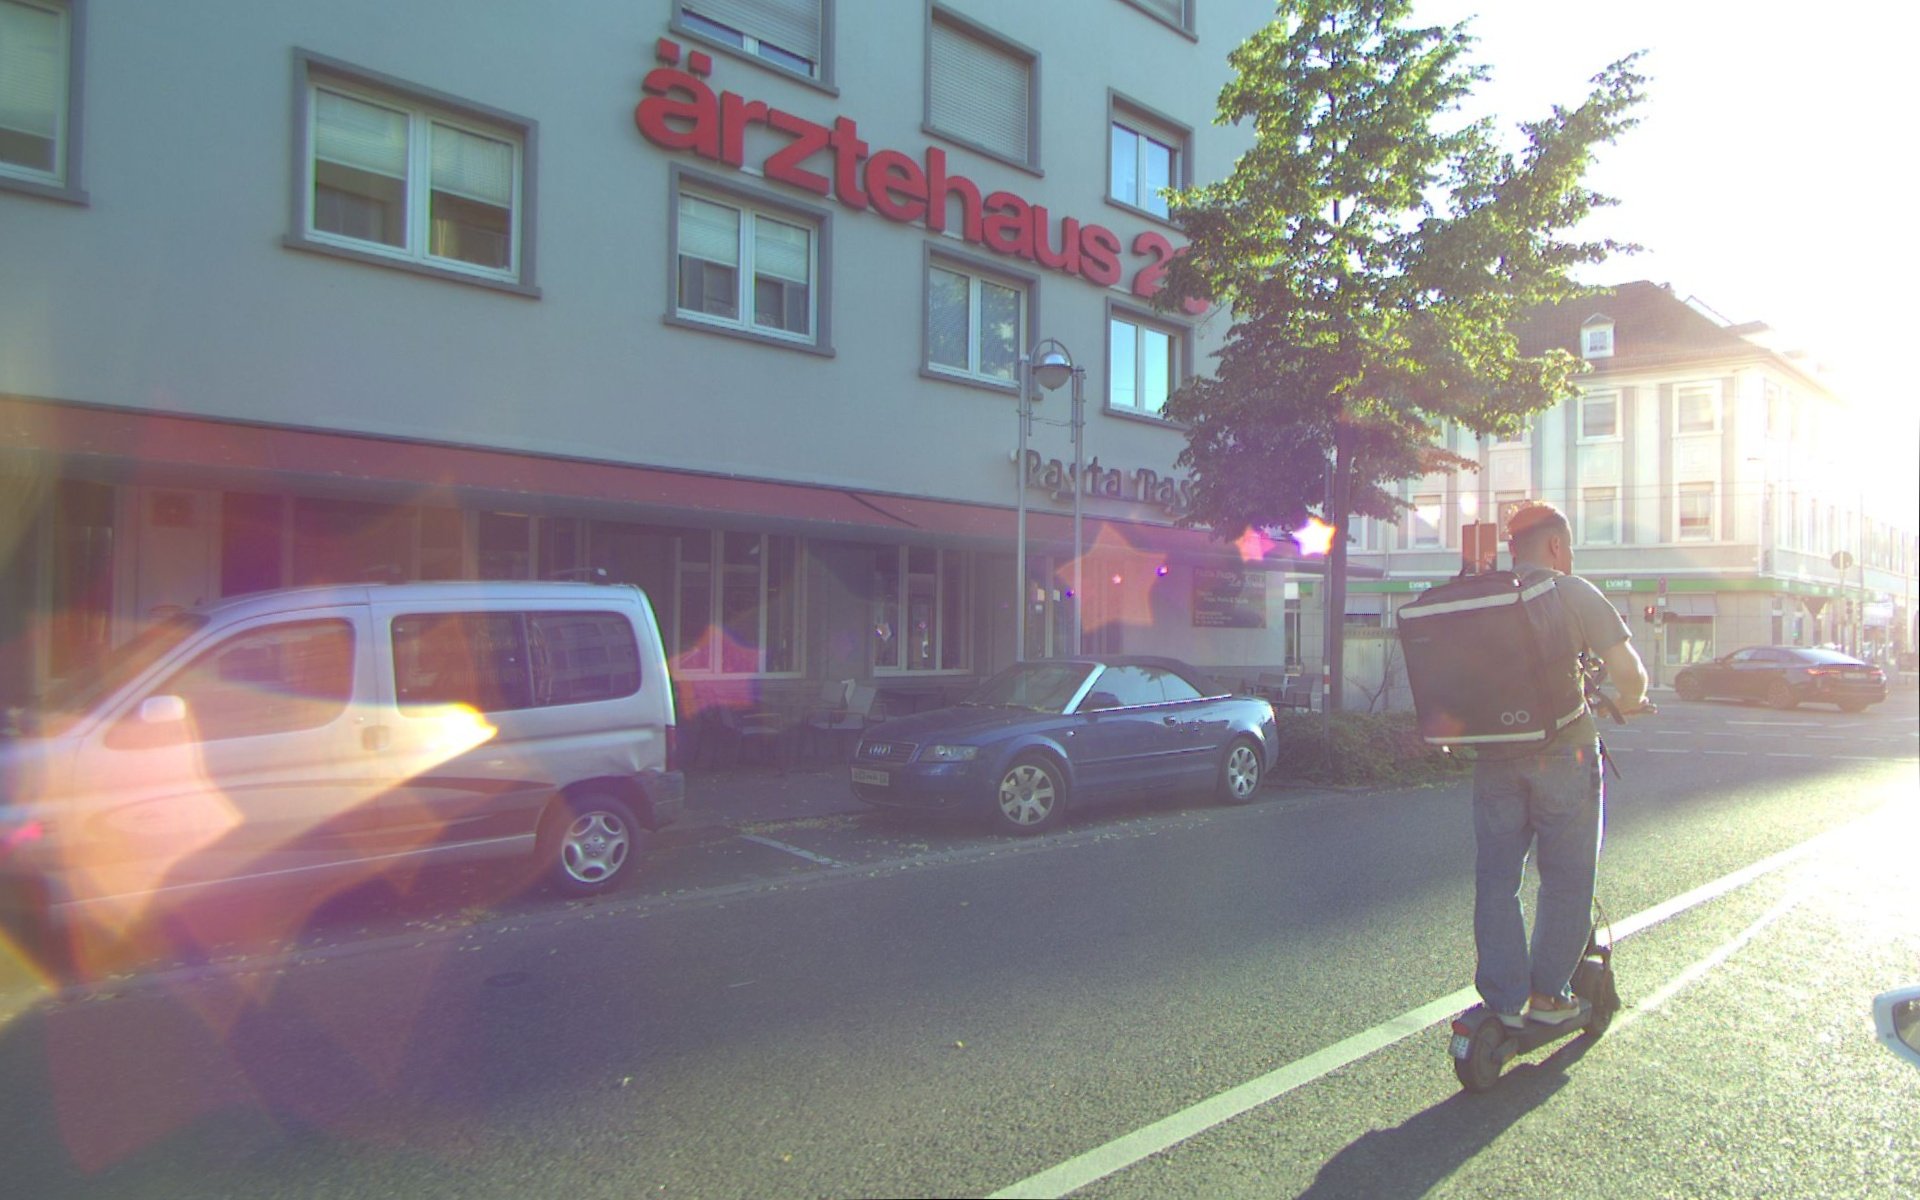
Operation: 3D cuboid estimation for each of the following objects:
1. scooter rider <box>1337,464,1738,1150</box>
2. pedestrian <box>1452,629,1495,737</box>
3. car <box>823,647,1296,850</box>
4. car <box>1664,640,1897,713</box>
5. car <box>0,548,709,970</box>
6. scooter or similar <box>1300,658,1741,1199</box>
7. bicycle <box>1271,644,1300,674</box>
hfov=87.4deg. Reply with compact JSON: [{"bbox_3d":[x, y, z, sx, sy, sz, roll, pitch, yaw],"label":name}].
[{"bbox_3d":[1.838,0.563,3.238,0.780,1.831,0.806,3,0,-33],"label":"scooter rider"},{"bbox_3d":[8.251,1.312,16.149,0.575,1.678,0.799,0,-1,25],"label":"pedestrian"},{"bbox_3d":[1.048,1.124,8.953,4.274,1.371,1.636,2,-2,-38],"label":"car"},{"bbox_3d":[19.348,1.758,23.993,1.859,1.499,4.544,2,-2,0],"label":"car"},{"bbox_3d":[-3.576,0.660,5.354,3.970,1.686,1.699,3,-1,-41],"label":"car"},{"bbox_3d":[1.836,0.887,3.192,1.652,1.368,0.541,2,-1,-34],"label":"scooter or similar"},{"bbox_3d":[12.382,2.236,38.167,0.490,1.073,1.736,1,-1,37],"label":"bicycle"}]
